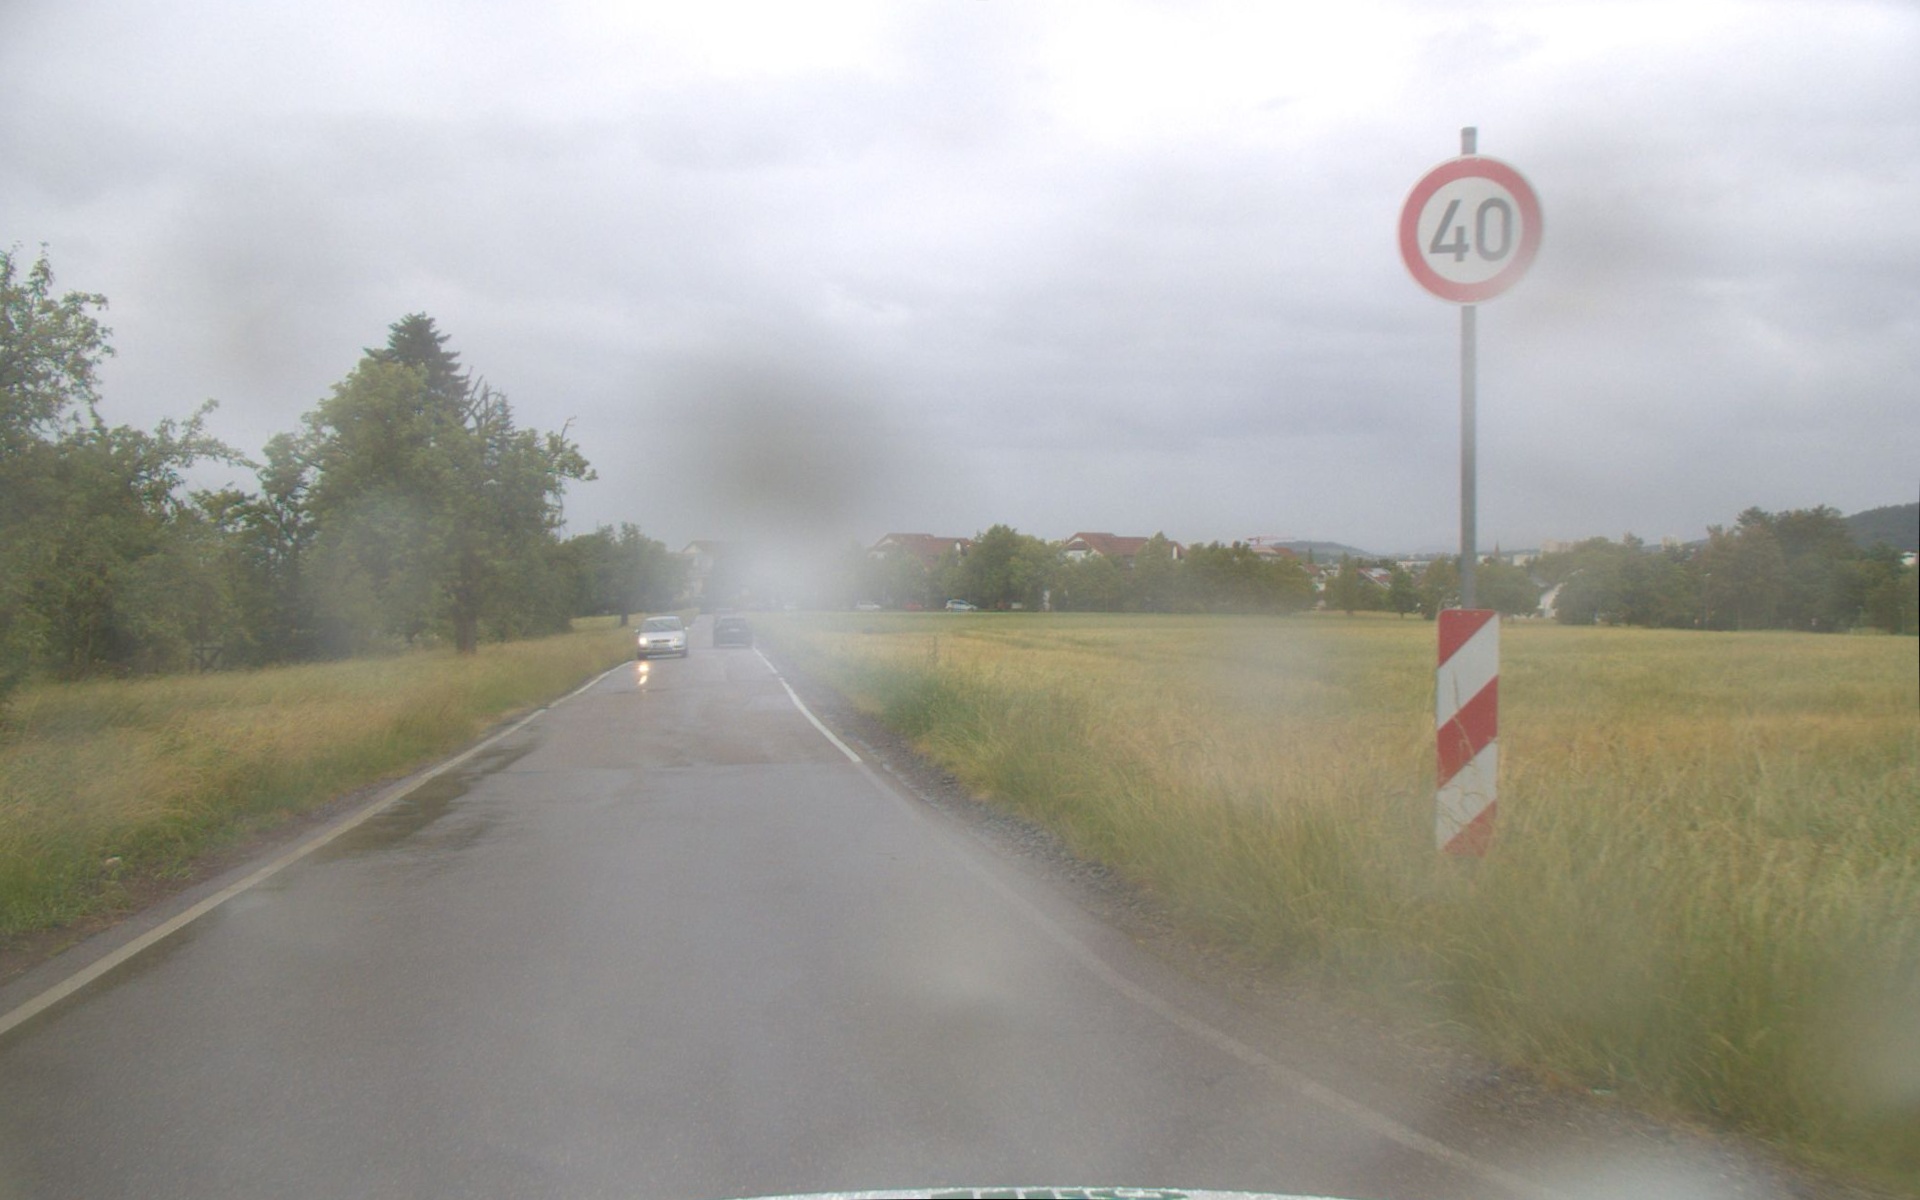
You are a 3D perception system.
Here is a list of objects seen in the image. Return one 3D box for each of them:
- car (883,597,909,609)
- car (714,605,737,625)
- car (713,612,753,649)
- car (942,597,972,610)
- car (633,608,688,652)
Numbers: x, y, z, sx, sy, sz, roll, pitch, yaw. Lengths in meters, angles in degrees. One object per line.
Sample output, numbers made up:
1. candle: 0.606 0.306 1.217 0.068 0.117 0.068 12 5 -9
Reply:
1. car: -8.189 0.349 211.094 3.125 1.395 1.573 -1 -1 5
2. car: -19.554 1.252 138.209 1.780 1.622 3.993 -1 -1 -7
3. car: -10.423 1.391 76.165 1.780 1.622 3.993 -1 -1 -7
4. car: -0.339 0.427 210.483 3.631 1.591 1.611 -1 -1 5
5. car: -10.856 1.093 60.080 1.706 1.497 4.116 -1 -1 -7
